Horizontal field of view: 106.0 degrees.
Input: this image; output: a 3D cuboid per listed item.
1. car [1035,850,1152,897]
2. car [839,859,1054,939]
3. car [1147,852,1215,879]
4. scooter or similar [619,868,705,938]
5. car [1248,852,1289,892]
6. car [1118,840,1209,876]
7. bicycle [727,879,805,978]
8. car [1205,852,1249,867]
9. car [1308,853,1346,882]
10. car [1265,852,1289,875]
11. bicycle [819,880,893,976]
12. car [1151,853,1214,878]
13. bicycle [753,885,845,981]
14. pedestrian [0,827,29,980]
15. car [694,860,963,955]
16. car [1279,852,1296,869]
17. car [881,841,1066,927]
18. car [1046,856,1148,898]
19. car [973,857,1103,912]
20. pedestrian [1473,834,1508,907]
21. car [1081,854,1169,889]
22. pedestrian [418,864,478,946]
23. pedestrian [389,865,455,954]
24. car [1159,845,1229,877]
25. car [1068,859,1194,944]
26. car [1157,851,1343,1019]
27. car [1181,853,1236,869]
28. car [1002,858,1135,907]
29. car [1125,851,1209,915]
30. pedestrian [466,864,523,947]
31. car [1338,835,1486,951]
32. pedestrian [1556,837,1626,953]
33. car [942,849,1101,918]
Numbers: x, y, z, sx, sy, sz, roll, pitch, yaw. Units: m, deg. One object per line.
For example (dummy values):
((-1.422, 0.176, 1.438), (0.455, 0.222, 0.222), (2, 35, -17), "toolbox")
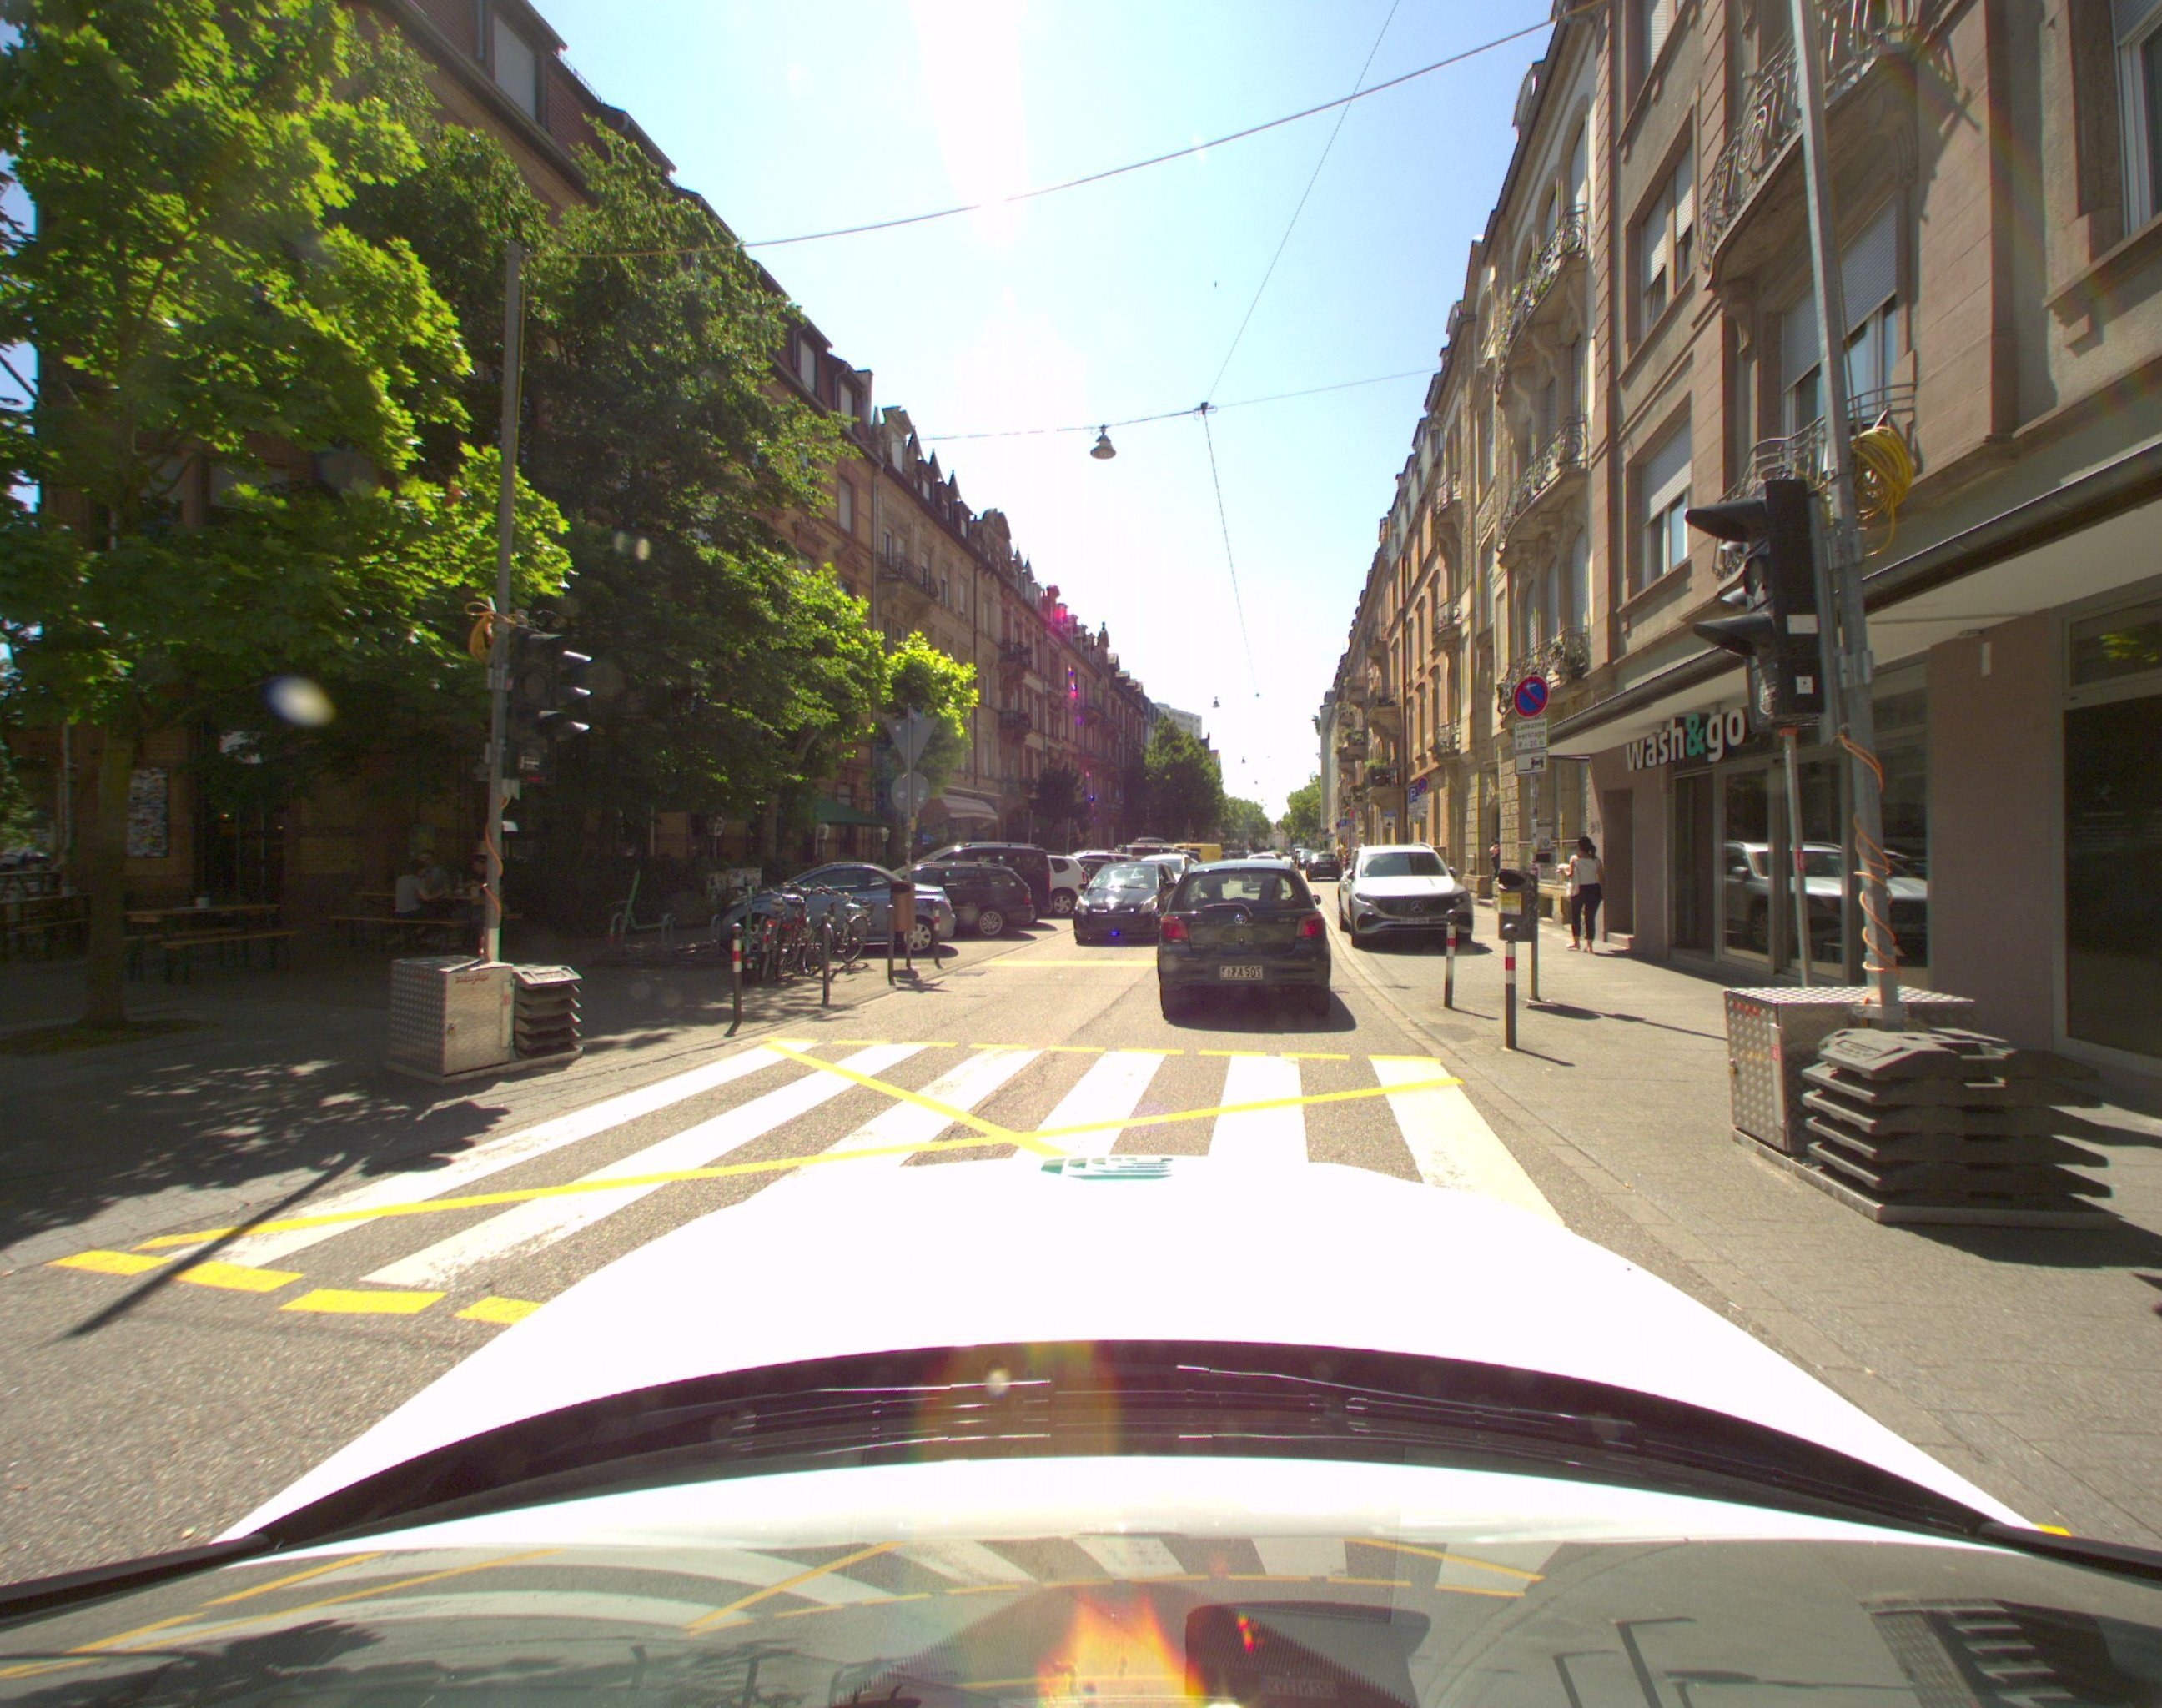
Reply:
((0.457, 0.685, 29.890), (3.930, 1.619, 1.850), (0, 0, -26), "car")
((-2.744, 0.873, 16.337), (3.997, 1.412, 1.960), (1, 0, -18), "car")
((6.282, 0.705, 51.368), (3.909, 1.708, 1.860), (0, 0, -9), "car")
((-7.309, 0.832, 14.282), (0.275, 1.120, 1.478), (2, 1, 23), "scooter or similar")
((7.567, 0.693, 32.807), (1.511, 1.521, 3.276), (0, 0, 14), "car")
((4.691, 0.229, 46.409), (4.781, 1.994, 2.043), (0, 0, -15), "car")
((-4.144, 0.944, 10.829), (0.336, 1.156, 1.621), (1, 0, 2), "bicycle")
((17.186, 0.652, 95.922), (4.611, 1.726, 1.991), (0, 0, -13), "car")
((12.688, 0.660, 42.134), (1.742, 1.429, 4.016), (-1, 0, 15), "car")
((13.885, 0.653, 57.536), (1.511, 1.592, 3.277), (0, 0, 15), "car")
((-3.110, 0.981, 11.372), (0.489, 1.173, 1.685), (1, 0, 2), "bicycle")
((6.708, 0.772, 54.179), (3.861, 1.640, 1.780), (0, 0, -9), "car")
((-3.731, 1.002, 10.914), (0.489, 1.081, 1.899), (1, 0, 2), "bicycle")
((-12.407, 0.543, 8.874), (0.633, 1.704, 0.933), (1, 0, 11), "pedestrian")
((-4.100, 0.851, 13.681), (3.993, 1.375, 1.990), (1, 0, -15), "car")
((20.029, 0.604, 79.123), (1.512, 1.592, 3.275), (0, 0, 13), "car")
((-2.490, 0.669, 18.587), (3.994, 1.804, 1.760), (1, 0, -15), "car")
((0.616, 0.905, 33.081), (3.909, 1.619, 1.860), (0, 0, -9), "car")
((-1.285, 0.860, 23.689), (3.616, 1.458, 1.621), (1, 0, -8), "car")
((10.138, 0.392, 20.184), (0.509, 1.750, 0.751), (-2, 0, 7), "pedestrian")
((2.064, 0.787, 38.623), (3.909, 1.619, 1.860), (0, 0, -9), "car")
((-9.673, 0.761, 12.459), (0.558, 1.220, 0.594), (0, 0, -20), "pedestrian")
((-9.378, 0.774, 11.606), (0.558, 1.220, 0.594), (0, 0, -20), "pedestrian")
((7.987, 0.475, 57.904), (4.562, 2.187, 1.991), (0, 0, -13), "car")
((1.138, 0.857, 16.358), (1.742, 1.444, 4.016), (-1, 0, 15), "car")
((1.766, 0.754, 8.986), (1.604, 1.485, 3.249), (-2, -1, 9), "car")
((11.591, 0.610, 74.104), (4.562, 1.434, 1.991), (0, 0, -13), "car")
((-0.407, 0.882, 26.577), (3.929, 1.470, 1.851), (0, 0, -25), "car")
((2.648, 0.788, 24.164), (1.742, 1.645, 4.395), (-3, -1, 15), "car")
((-8.894, 0.759, 12.363), (0.558, 1.220, 0.594), (0, 0, -20), "pedestrian")
((5.658, 0.605, 14.460), (1.857, 1.713, 4.522), (-2, -1, 15), "car")
((7.406, 0.576, 11.860), (0.636, 1.623, 0.807), (0, 0, 14), "pedestrian")
((-1.592, 0.748, 21.447), (3.985, 1.658, 1.755), (1, 0, -9), "car")
